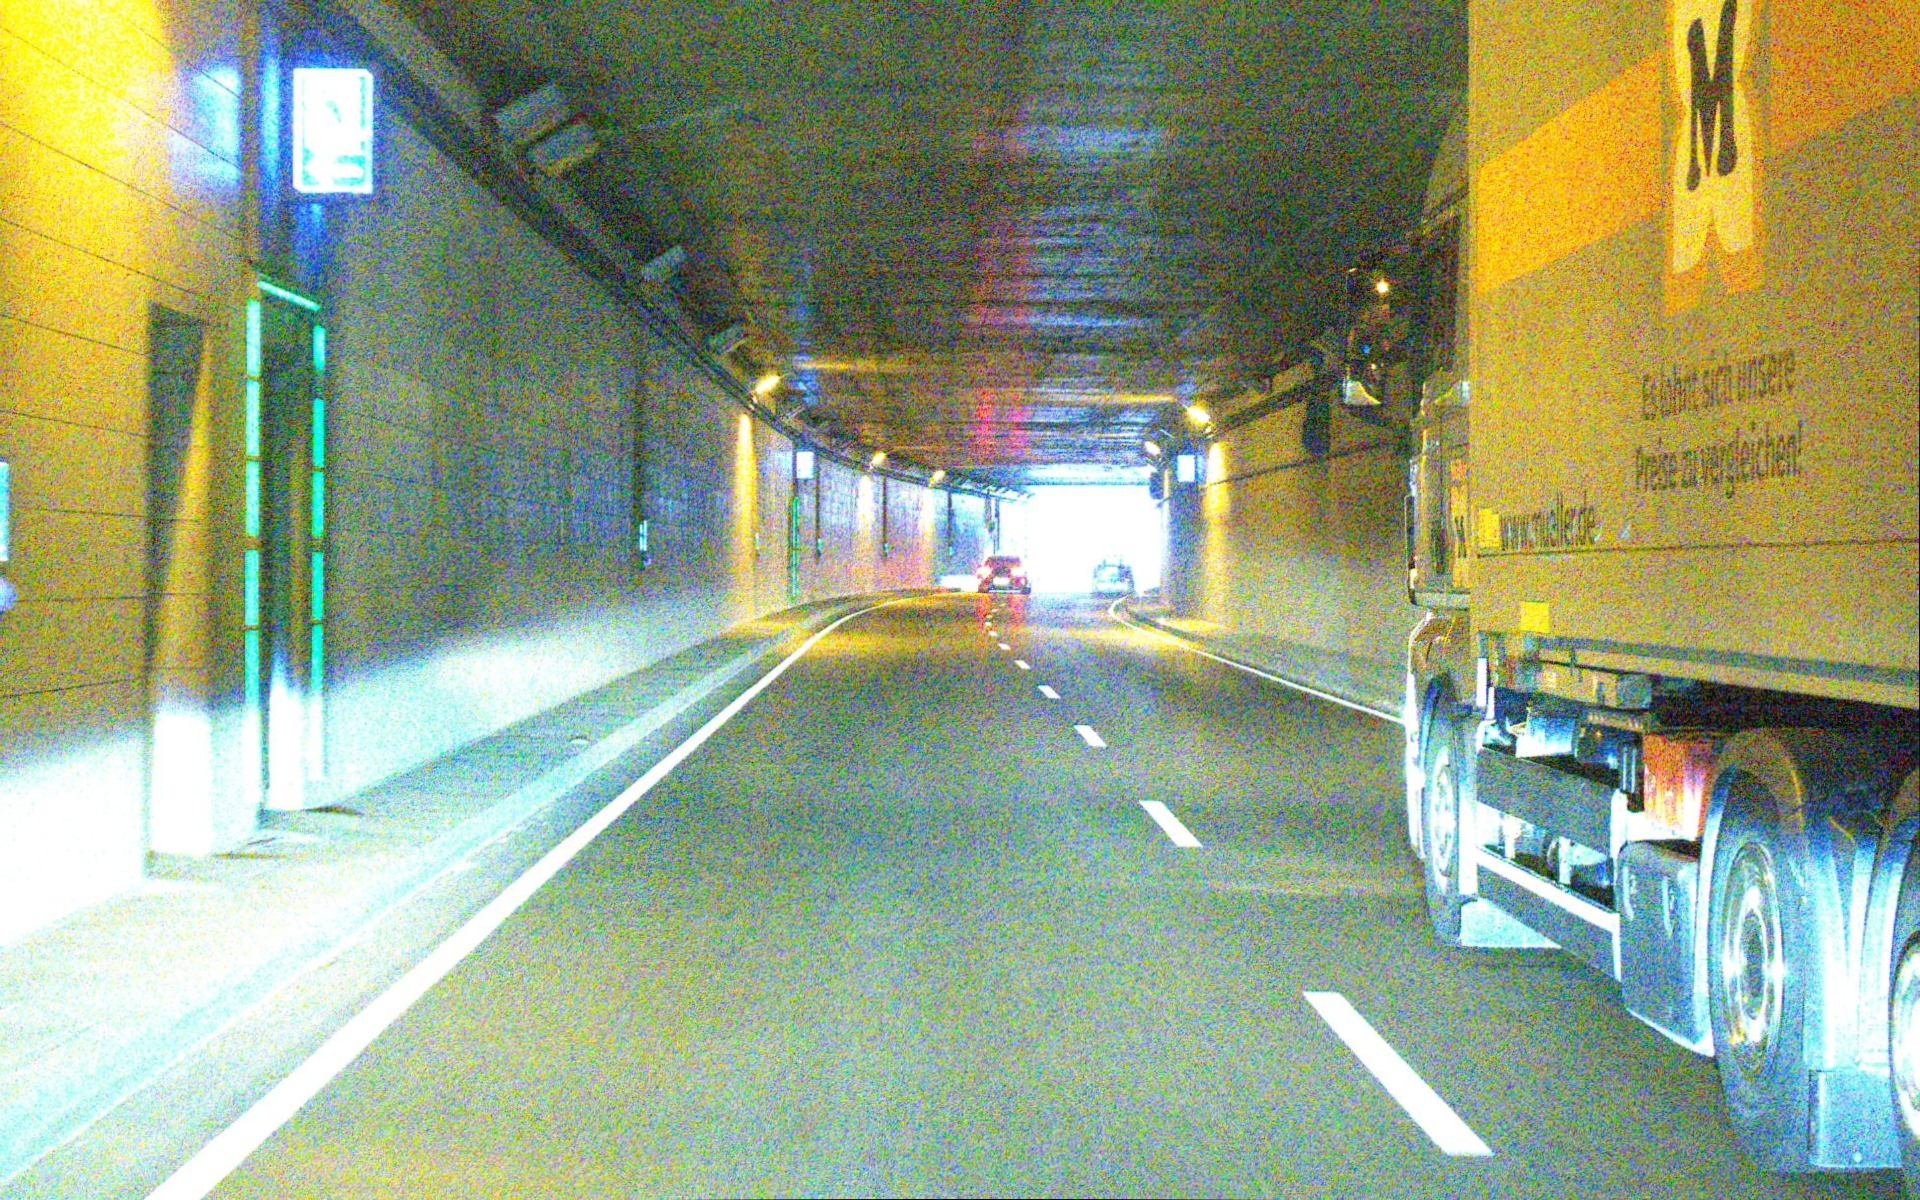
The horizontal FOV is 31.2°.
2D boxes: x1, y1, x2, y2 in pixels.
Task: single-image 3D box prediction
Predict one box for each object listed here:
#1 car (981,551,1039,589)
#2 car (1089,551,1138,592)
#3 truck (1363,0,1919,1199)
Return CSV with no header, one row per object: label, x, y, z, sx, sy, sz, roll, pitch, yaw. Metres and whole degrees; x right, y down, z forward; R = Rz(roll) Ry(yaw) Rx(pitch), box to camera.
car,1.855,-1.108,126.966,1.841,1.384,3.999,1,0,5
car,6.548,-1.210,146.362,1.870,1.726,3.999,1,0,5
truck,3.229,-0.585,9.754,2.889,3.900,9.909,1,1,0
